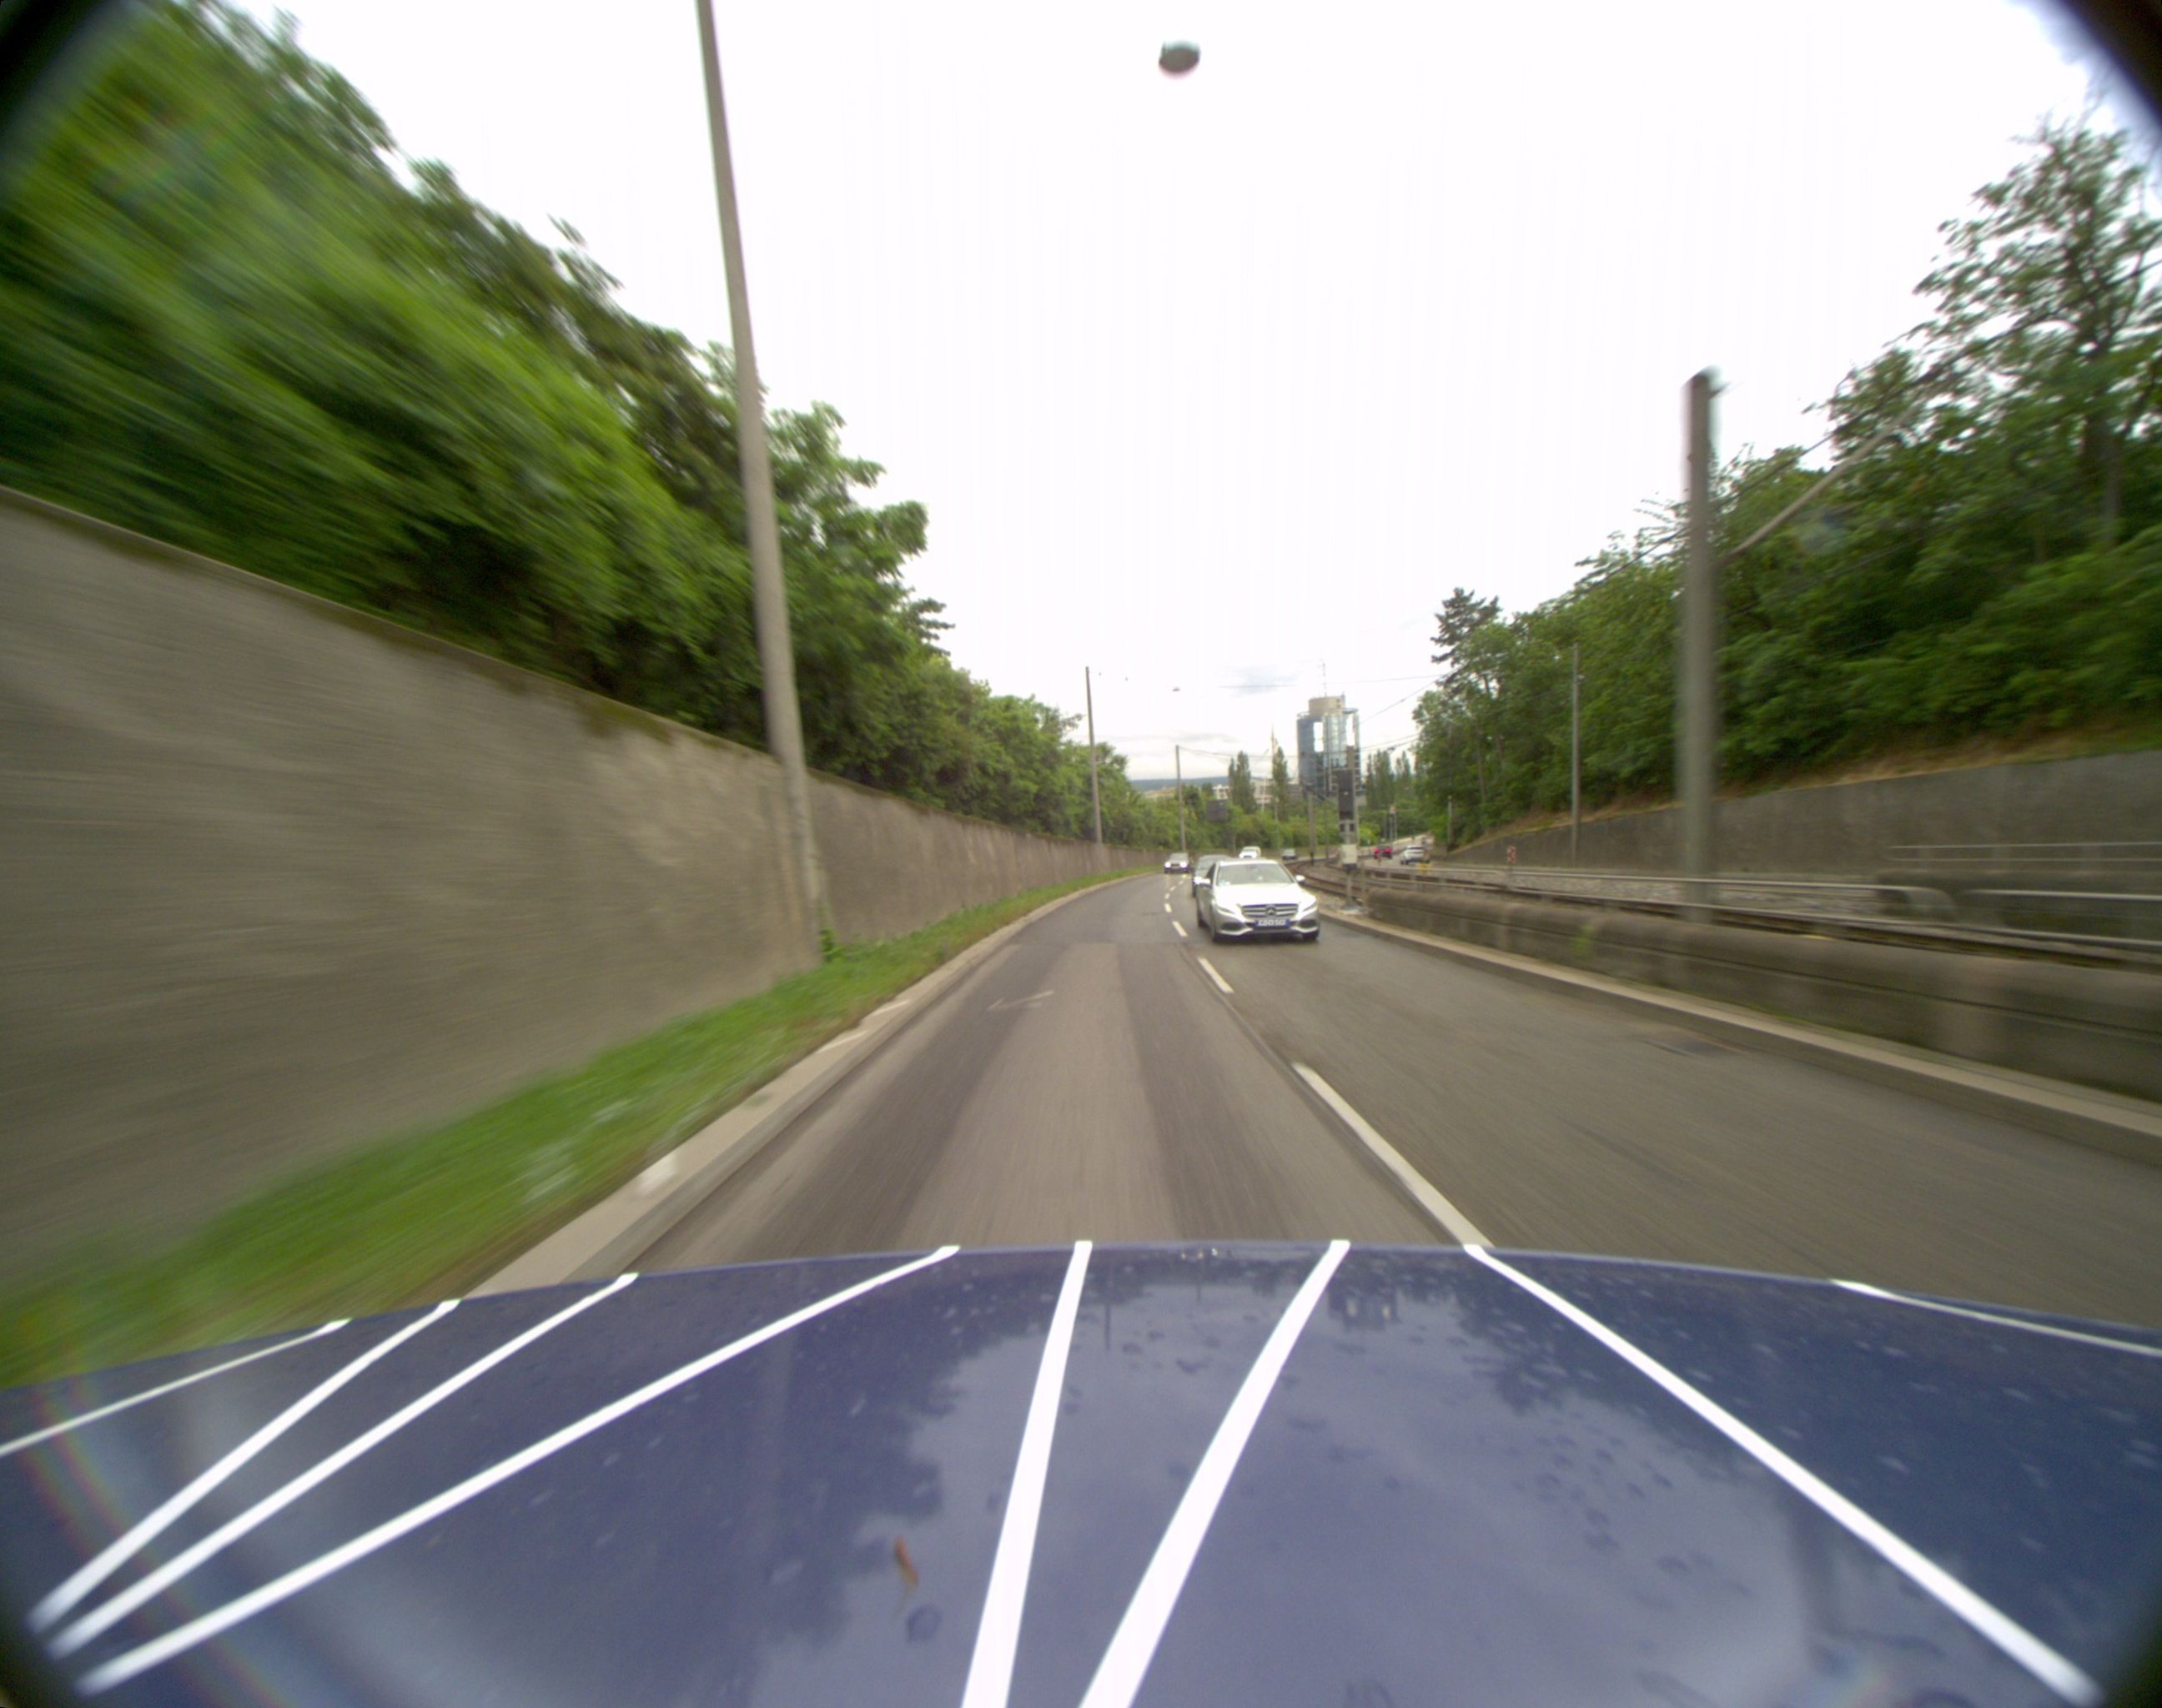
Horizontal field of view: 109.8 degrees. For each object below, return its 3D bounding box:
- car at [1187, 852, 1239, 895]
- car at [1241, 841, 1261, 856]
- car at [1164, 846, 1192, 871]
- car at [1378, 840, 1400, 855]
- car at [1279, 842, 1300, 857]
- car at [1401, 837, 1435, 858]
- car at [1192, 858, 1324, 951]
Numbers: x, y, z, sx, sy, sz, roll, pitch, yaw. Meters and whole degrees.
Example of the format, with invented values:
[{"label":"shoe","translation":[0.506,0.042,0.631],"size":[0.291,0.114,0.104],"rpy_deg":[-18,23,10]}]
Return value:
[{"label":"car","translation":[4.826,0.666,27.739],"size":[1.728,1.462,3.890],"rpy_deg":[-1,0,10]},{"label":"car","translation":[21.092,-0.683,94.188],"size":[1.807,1.501,4.004],"rpy_deg":[-3,2,22]},{"label":"car","translation":[6.963,0.279,54.171],"size":[1.809,1.501,4.001],"rpy_deg":[-4,2,8]},{"label":"car","translation":[39.209,-0.803,96.618],"size":[2.235,1.820,5.146],"rpy_deg":[-1,0,27]},{"label":"car","translation":[28.694,-0.600,104.452],"size":[1.995,2.002,4.502],"rpy_deg":[-1,0,26]},{"label":"car","translation":[28.260,-0.561,63.873],"size":[1.937,1.673,4.413],"rpy_deg":[-1,0,15]},{"label":"car","translation":[3.195,0.845,14.550],"size":[1.860,1.395,4.316],"rpy_deg":[-2,1,5]}]
